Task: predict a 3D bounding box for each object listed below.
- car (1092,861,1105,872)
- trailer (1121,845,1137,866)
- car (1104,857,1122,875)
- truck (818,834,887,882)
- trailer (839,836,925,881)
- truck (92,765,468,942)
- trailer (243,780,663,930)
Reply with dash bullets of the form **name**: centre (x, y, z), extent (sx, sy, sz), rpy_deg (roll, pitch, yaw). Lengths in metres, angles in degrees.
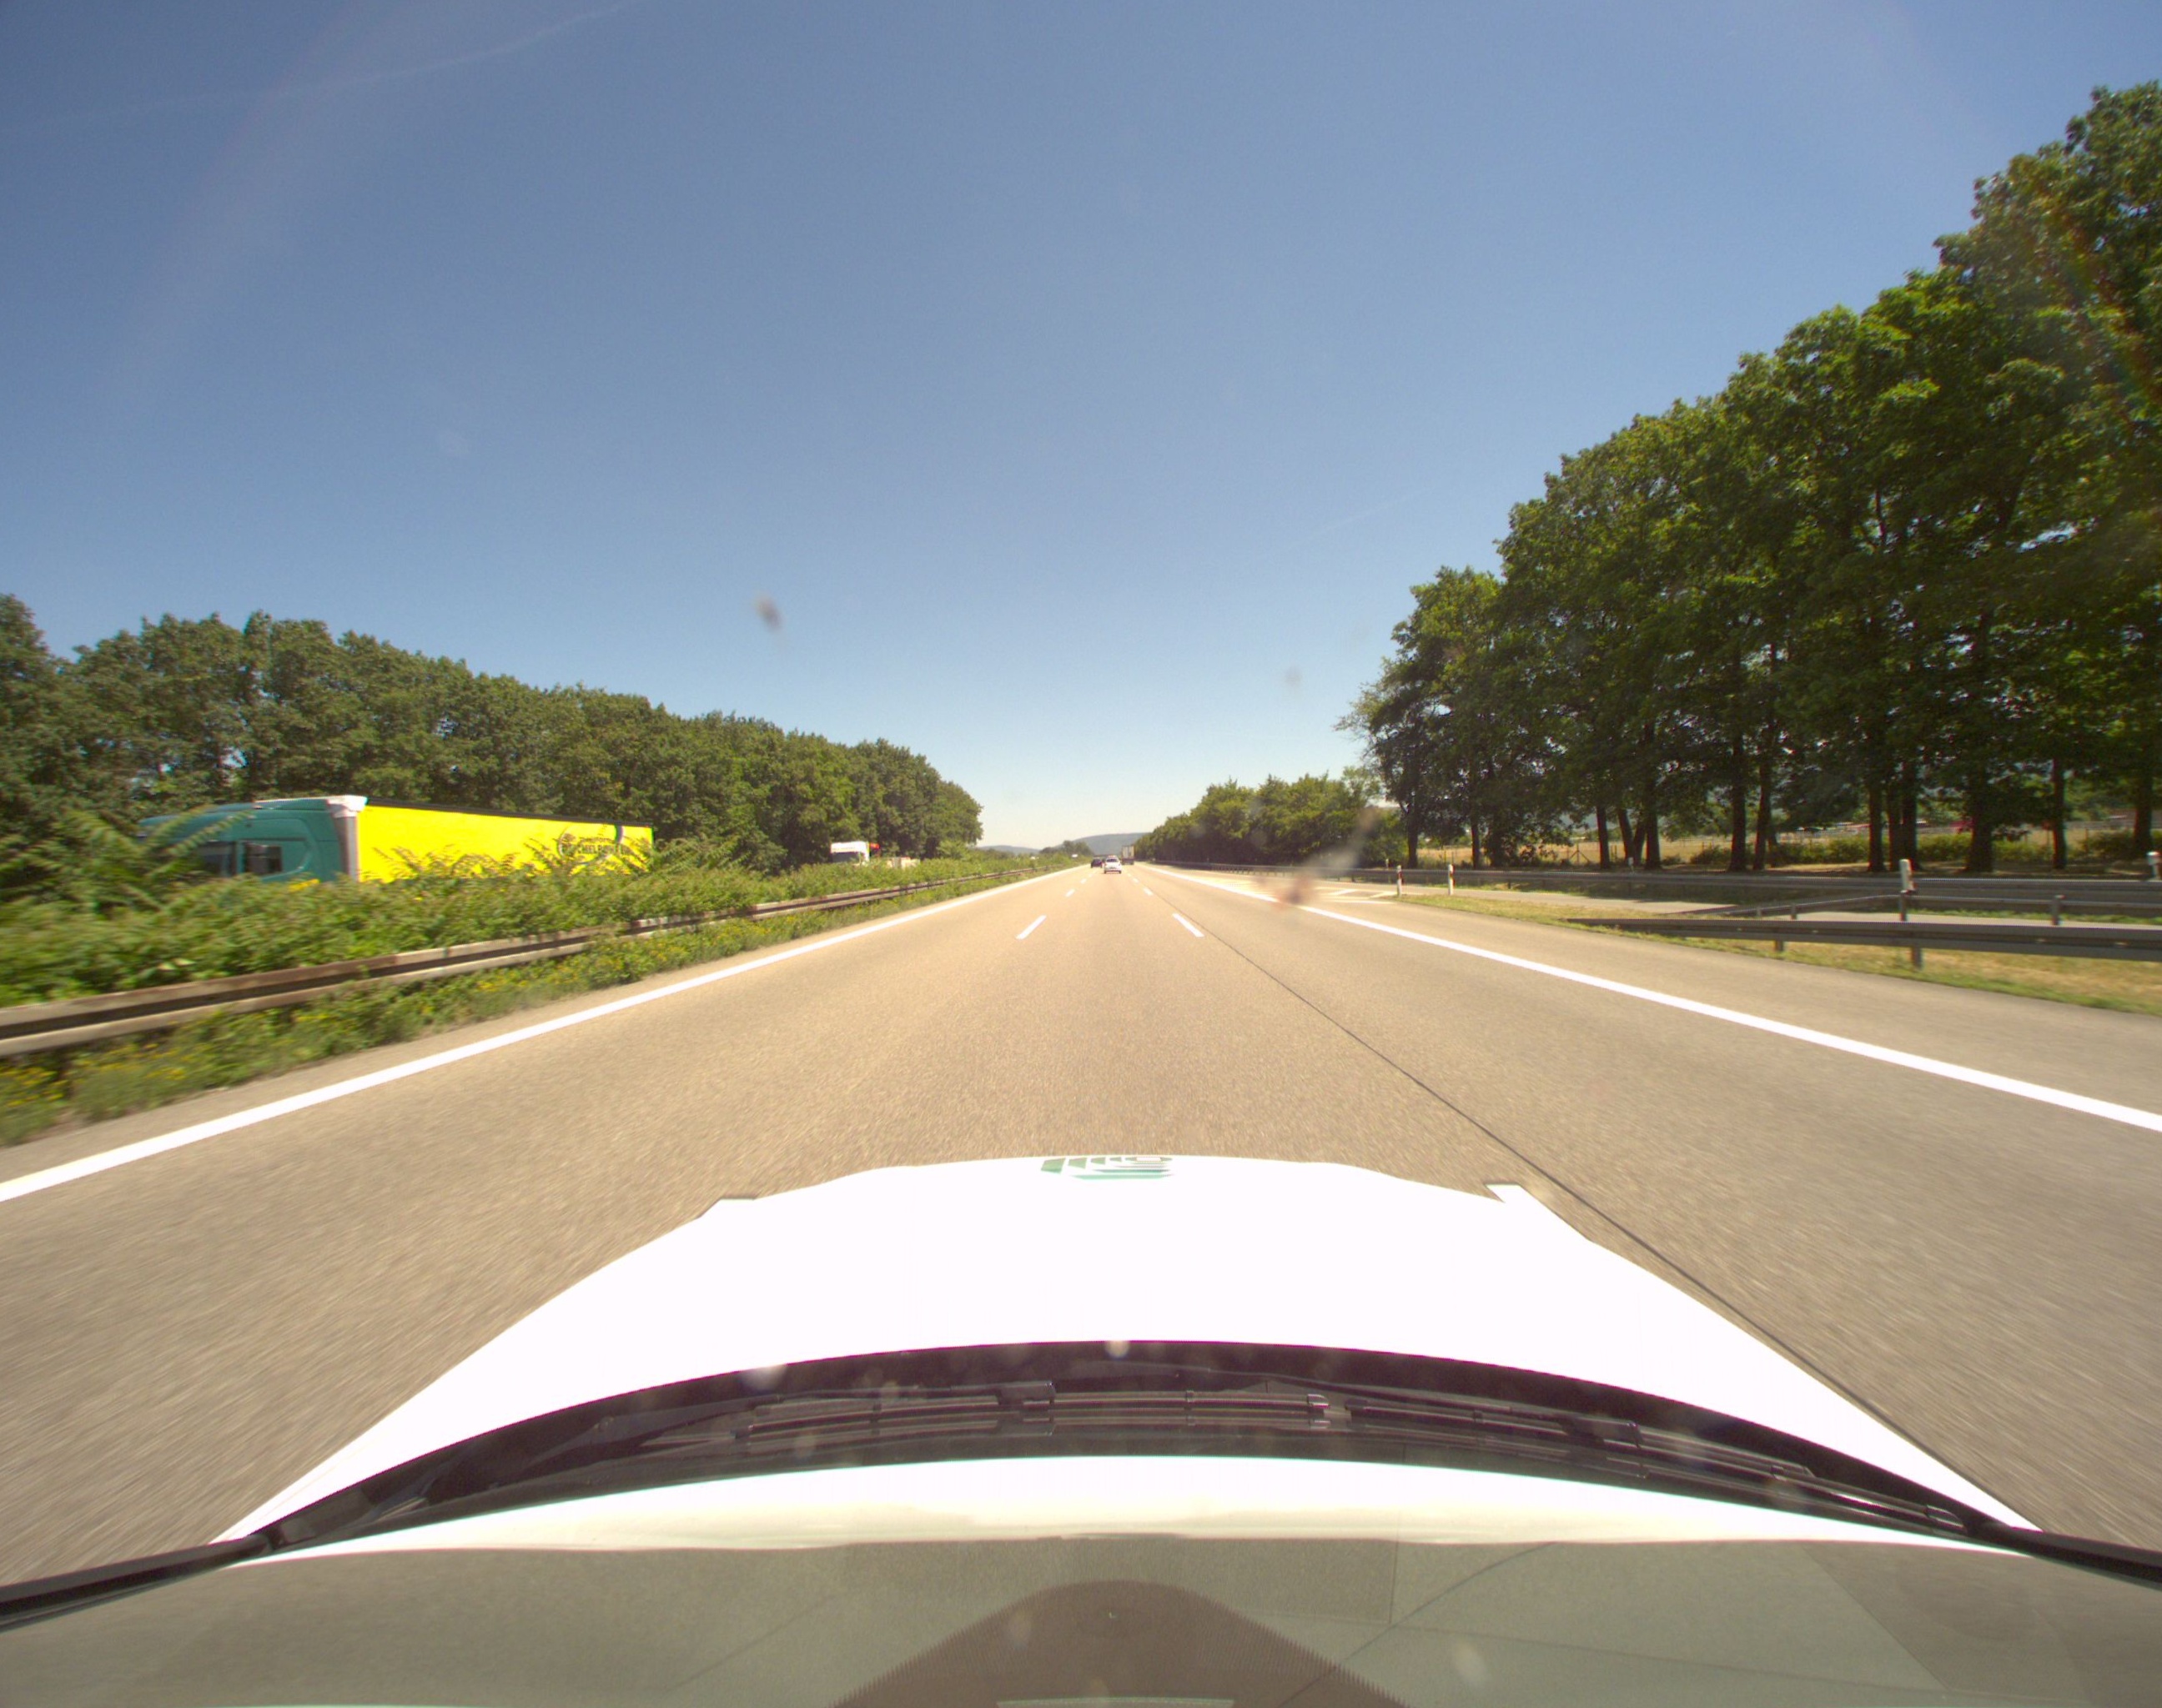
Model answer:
- **car**: centre (2.720, 1.933, 125.239), extent (1.986, 1.712, 4.001), rpy_deg (0, -1, 1)
- **trailer**: centre (10.546, 0.378, 177.843), extent (3.202, 4.345, 13.648), rpy_deg (0, -1, 5)
- **car**: centre (3.115, 1.172, 80.068), extent (1.726, 1.684, 4.001), rpy_deg (-2, 0, 1)
- **truck**: centre (-17.849, 0.337, 64.045), extent (3.185, 3.580, 6.999), rpy_deg (0, -1, 2)
- **trailer**: centre (-17.494, 0.416, 73.239), extent (3.185, 3.580, 15.976), rpy_deg (0, -1, 2)
- **truck**: centre (-19.796, 0.020, 20.882), extent (3.186, 3.825, 6.396), rpy_deg (0, -1, 1)
- **trailer**: centre (-19.624, 0.080, 27.809), extent (3.186, 3.825, 14.026), rpy_deg (0, -1, 1)
